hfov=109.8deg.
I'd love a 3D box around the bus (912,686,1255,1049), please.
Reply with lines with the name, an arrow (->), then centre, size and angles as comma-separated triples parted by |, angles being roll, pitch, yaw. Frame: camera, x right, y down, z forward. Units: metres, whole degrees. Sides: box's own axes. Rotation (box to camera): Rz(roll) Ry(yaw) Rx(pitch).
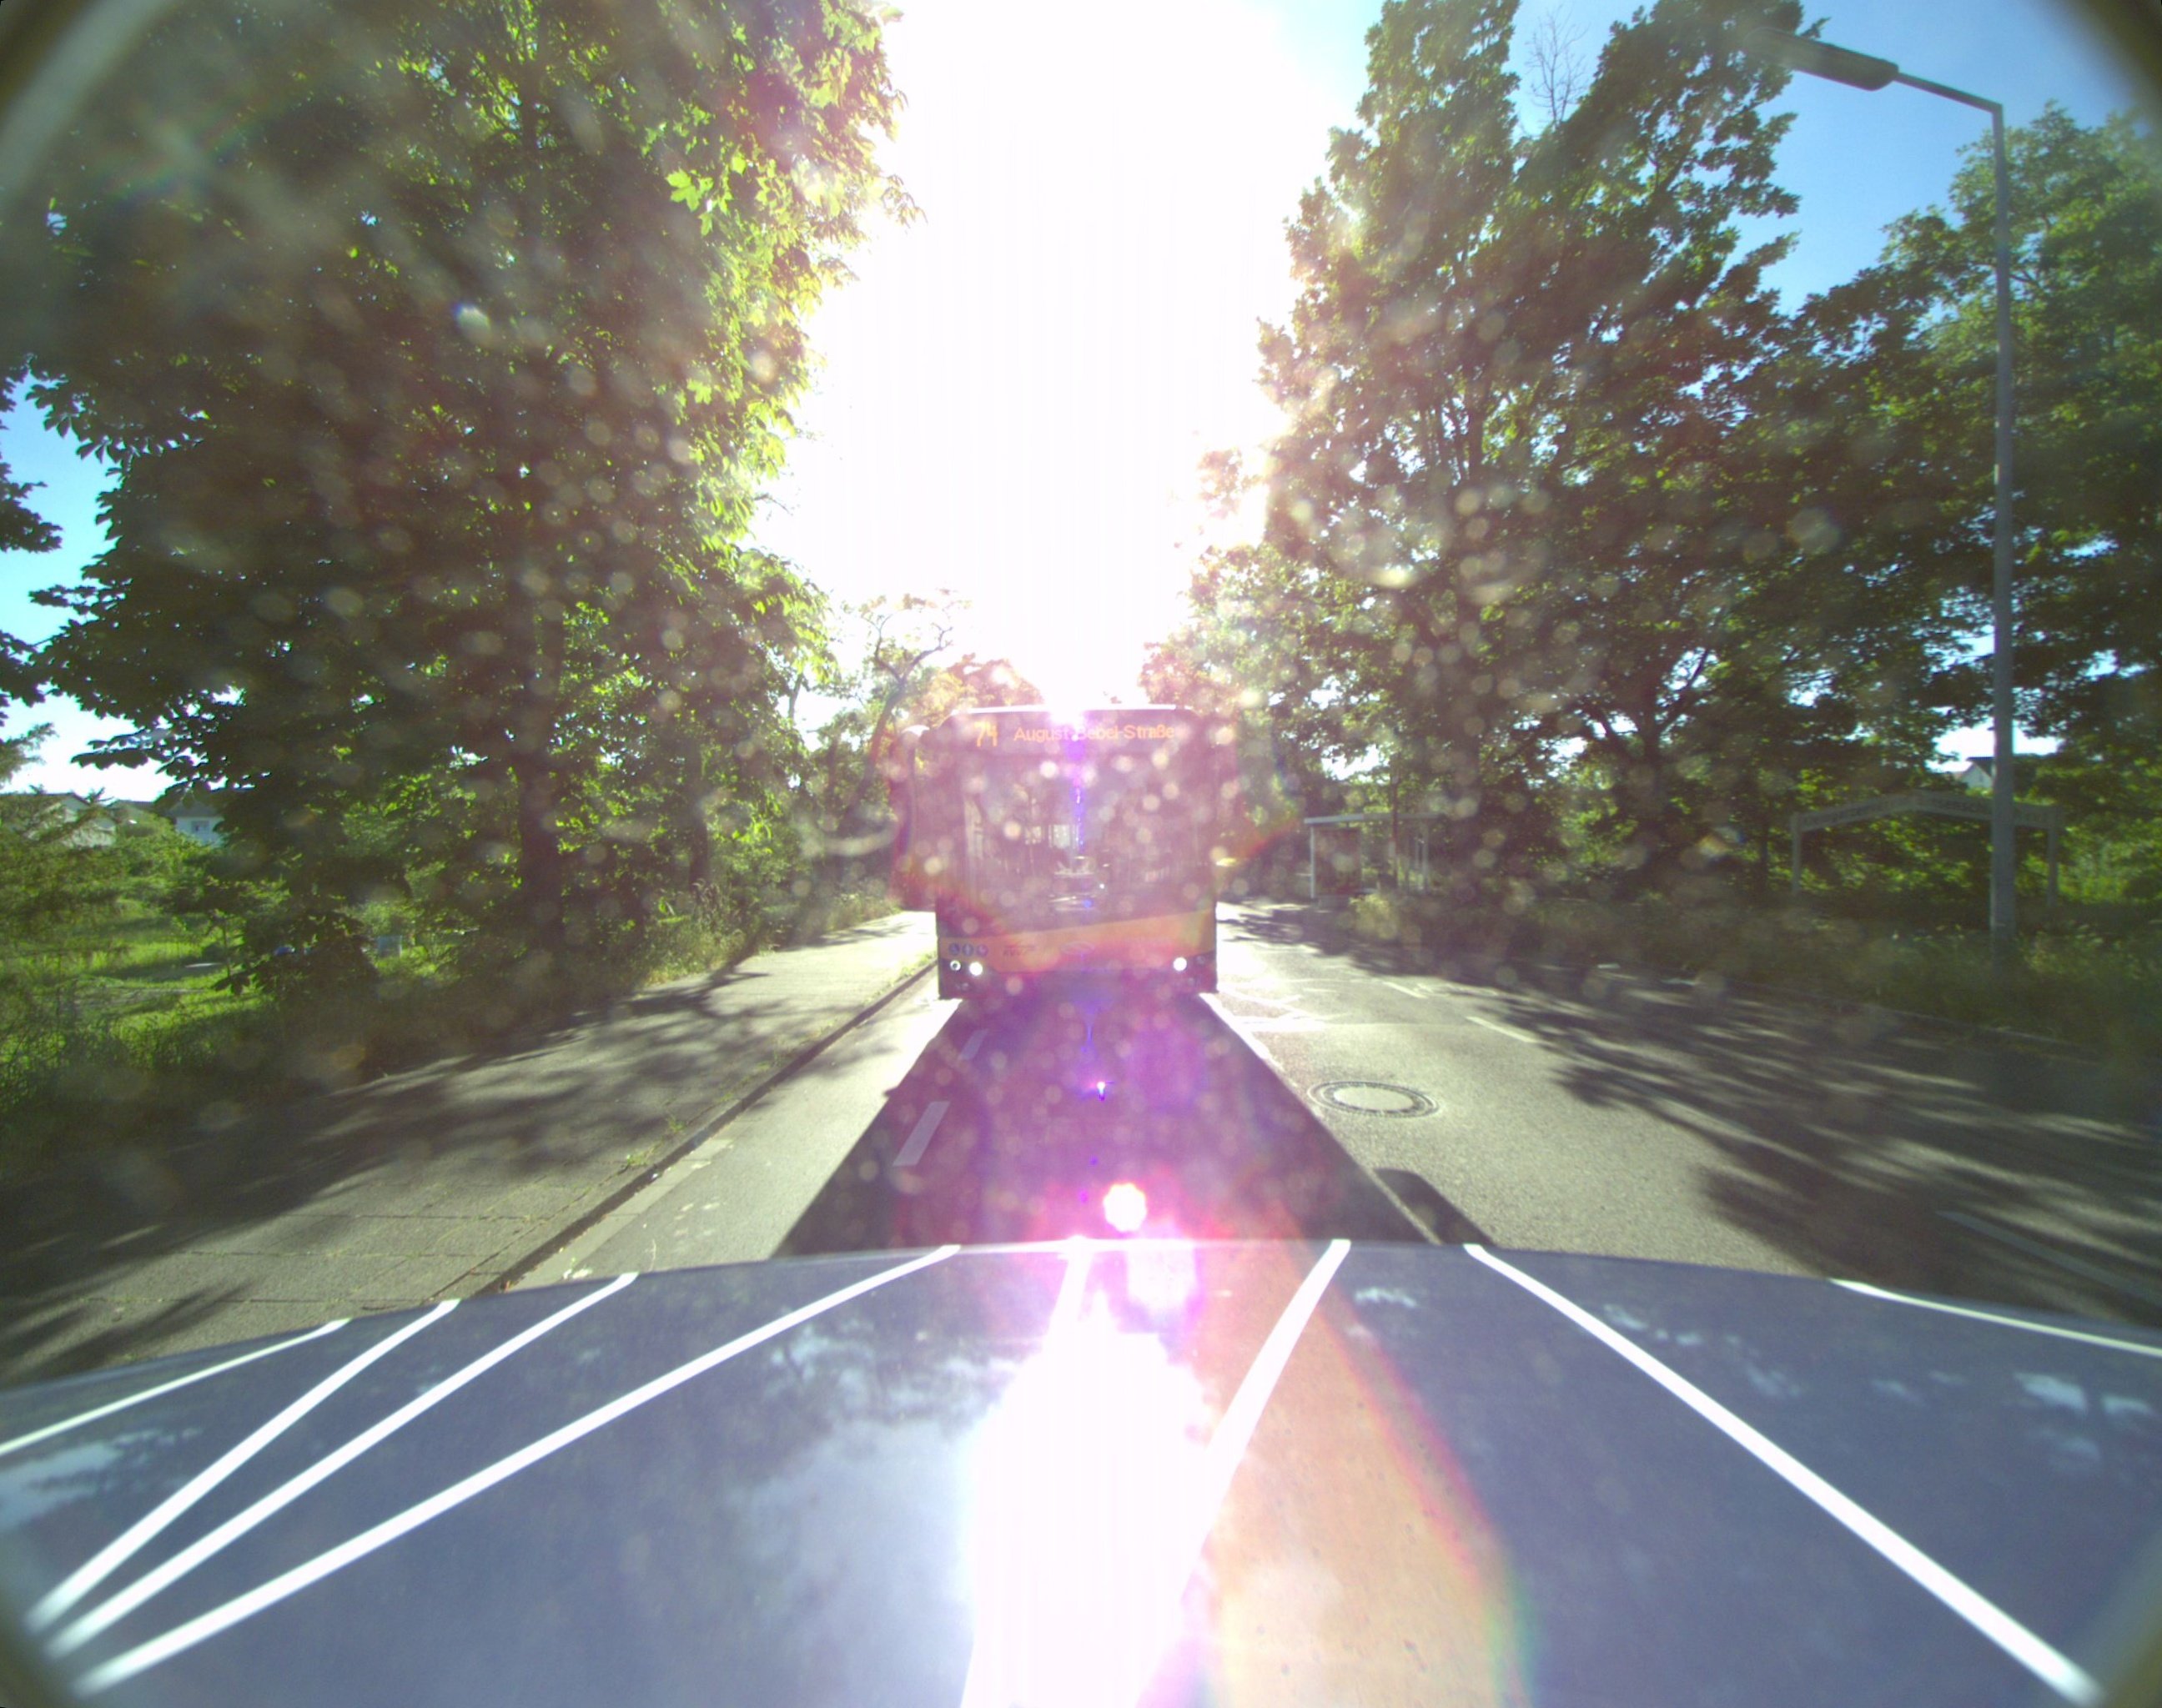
bus -> -0.042, 0.117, 12.876 | 2.790, 2.965, 12.893 | -2, 0, -1
